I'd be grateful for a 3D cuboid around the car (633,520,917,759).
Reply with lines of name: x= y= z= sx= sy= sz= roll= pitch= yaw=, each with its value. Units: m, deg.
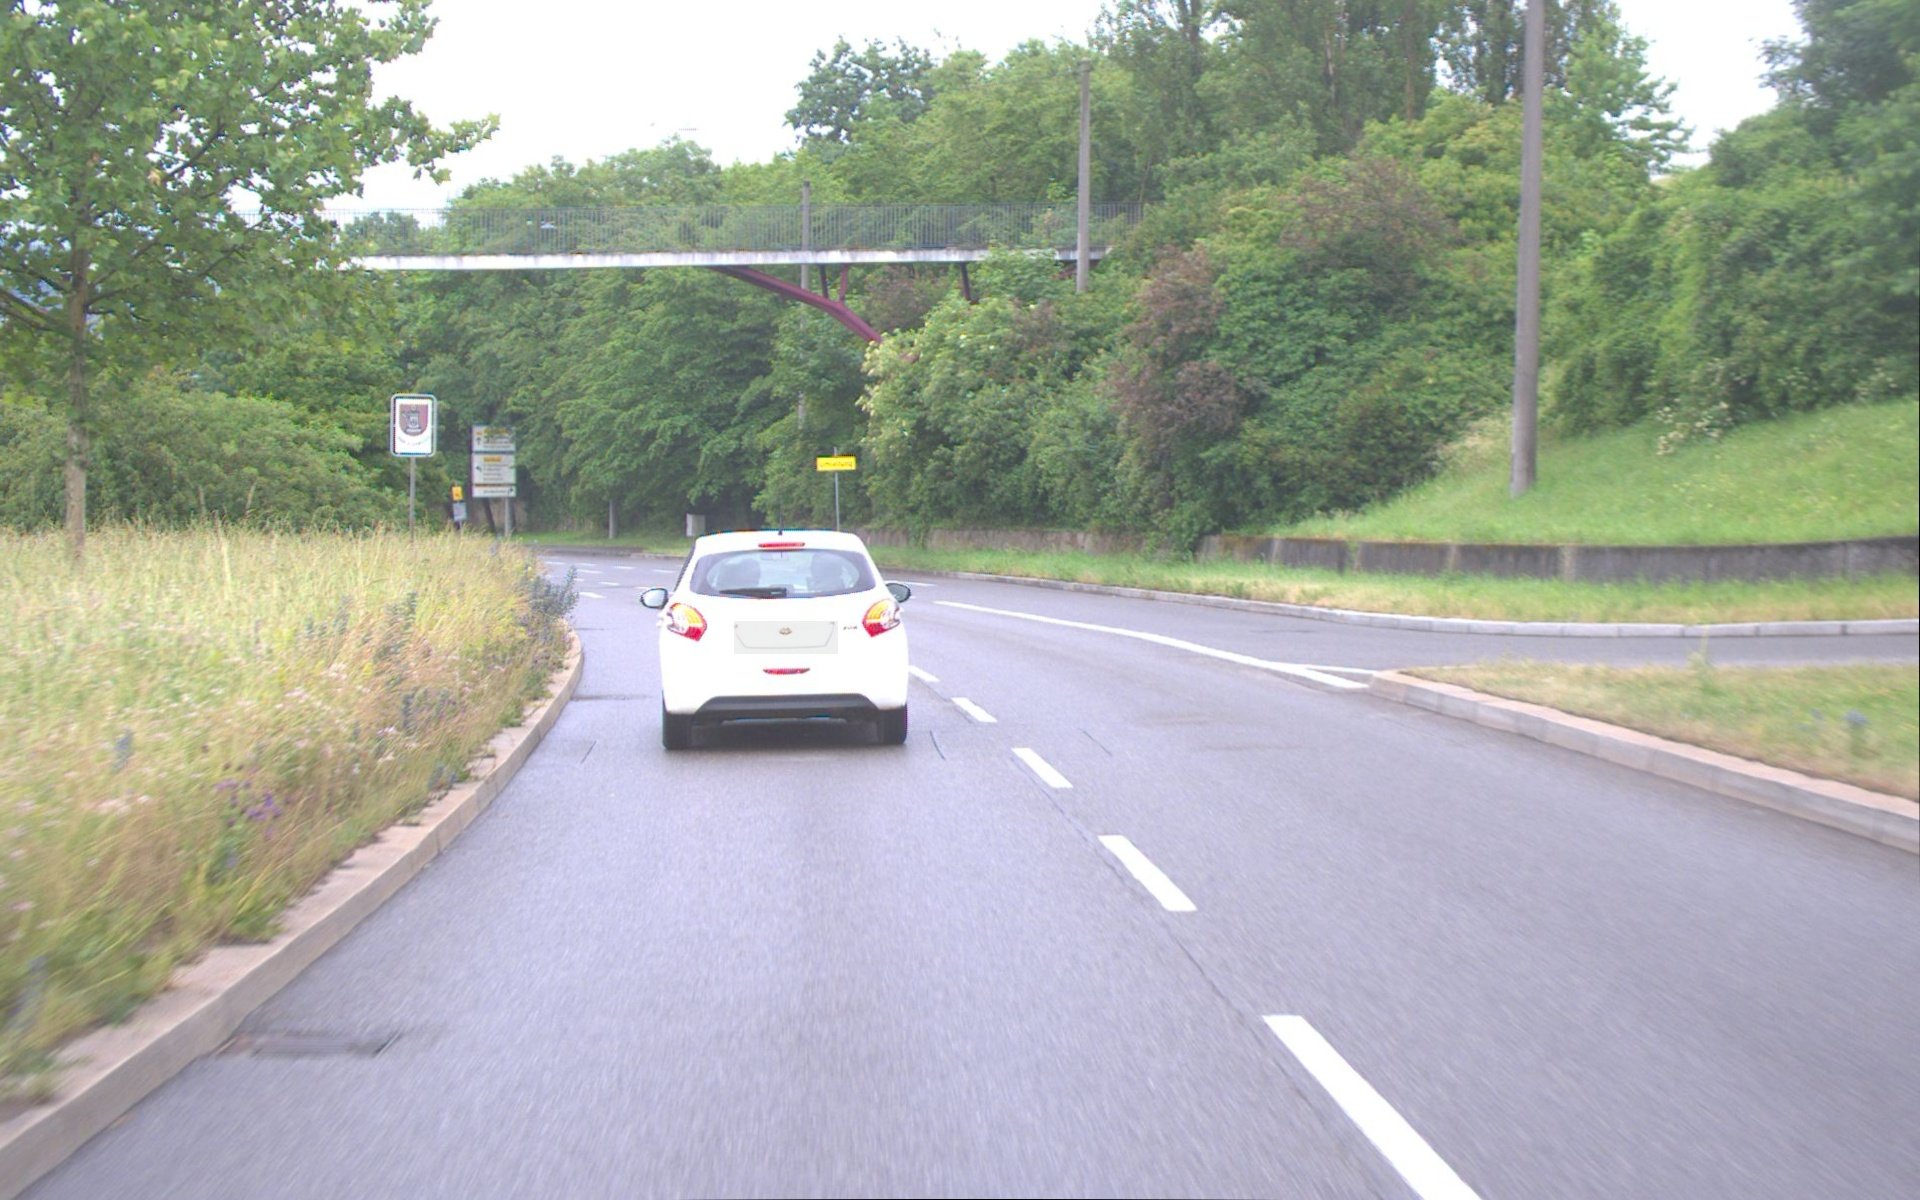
car: x=-1.288 y=0.216 z=24.593 sx=1.868 sy=1.505 sz=3.900 roll=0 pitch=2 yaw=-2
